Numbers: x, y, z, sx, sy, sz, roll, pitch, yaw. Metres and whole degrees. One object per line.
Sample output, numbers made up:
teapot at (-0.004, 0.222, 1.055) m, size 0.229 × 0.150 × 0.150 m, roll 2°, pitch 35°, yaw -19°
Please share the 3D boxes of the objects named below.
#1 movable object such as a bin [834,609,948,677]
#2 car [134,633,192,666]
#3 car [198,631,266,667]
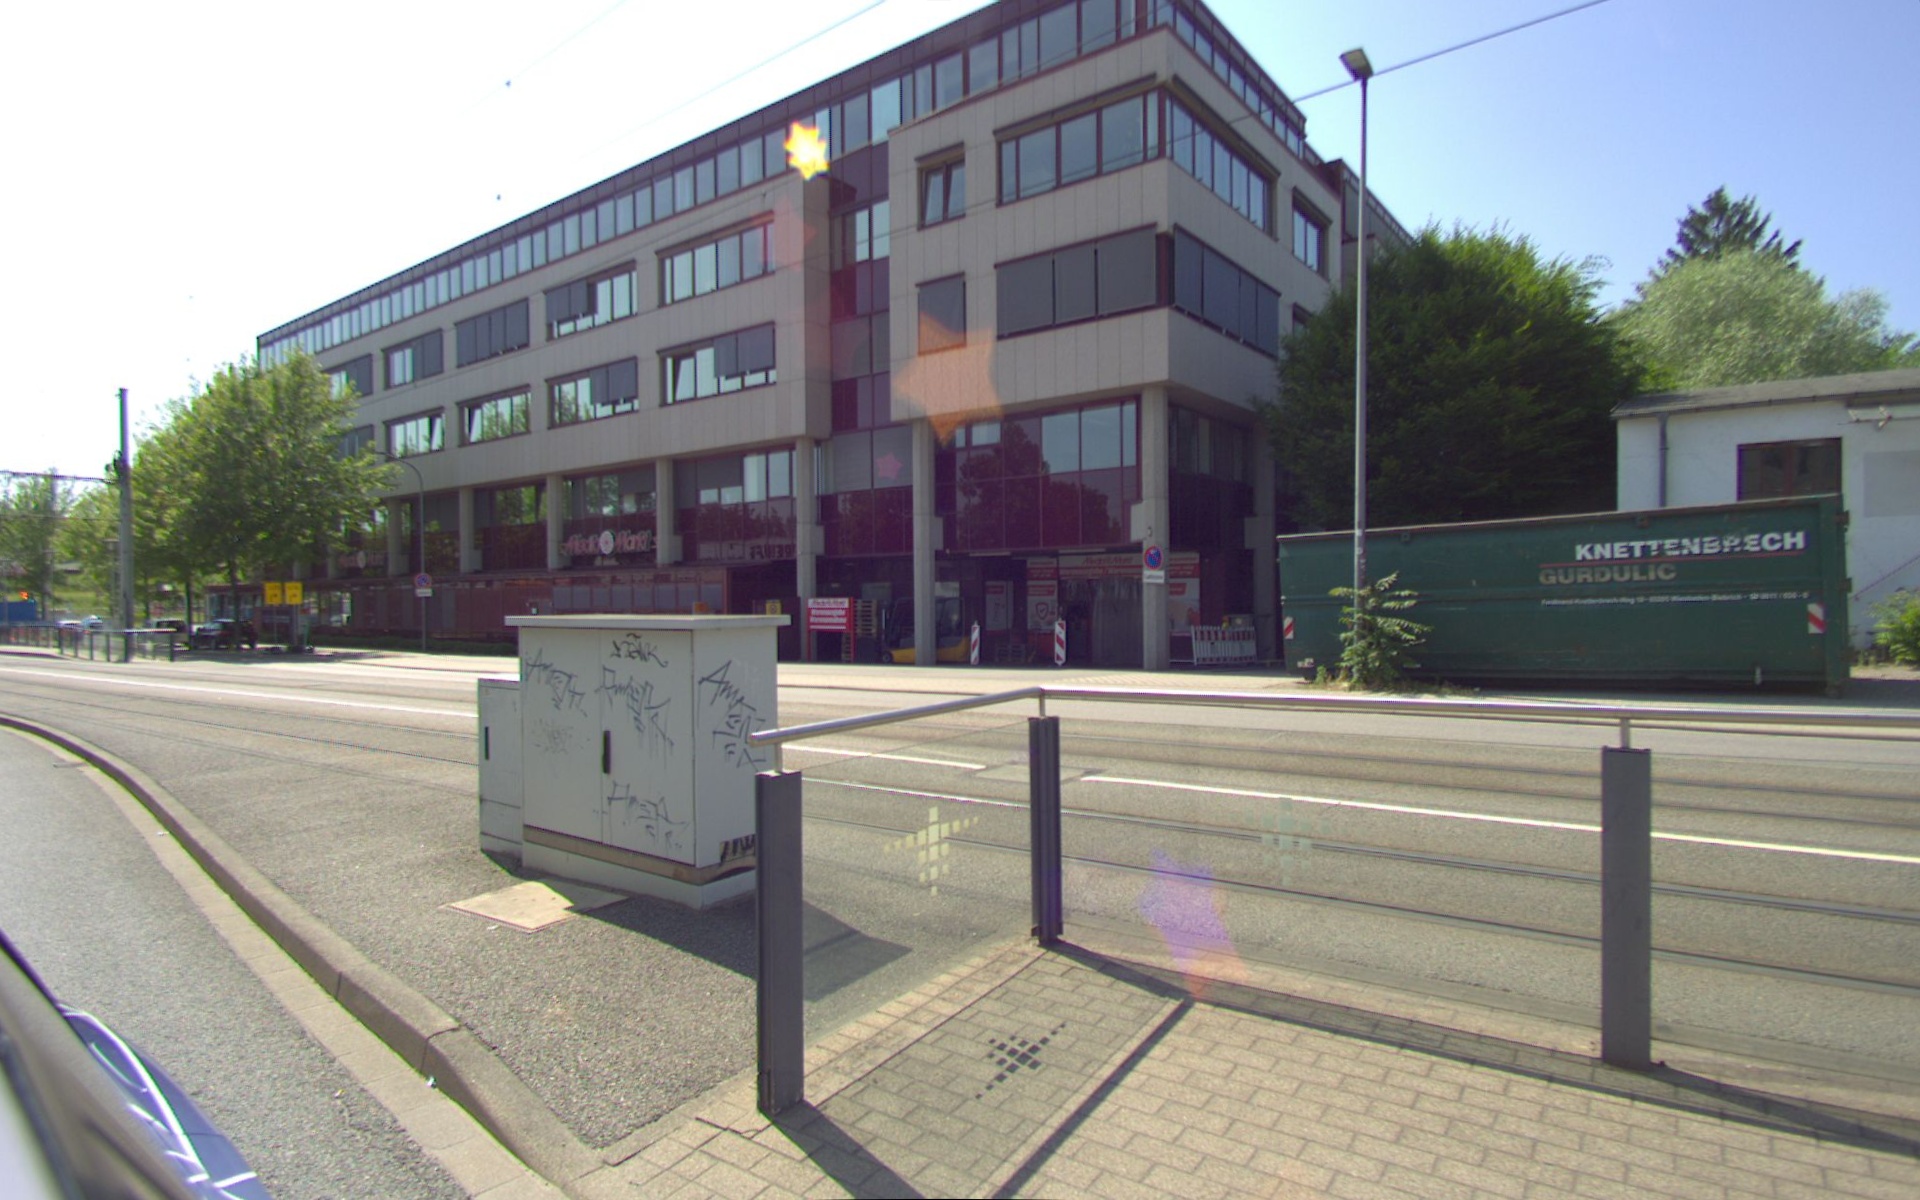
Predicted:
movable object such as a bin at (-2.155, 1.344, 31.894) m, size 3.152 × 2.029 × 1.737 m, roll -1°, pitch -1°, yaw 17°
car at (-41.533, 2.582, 52.701) m, size 4.001 × 1.630 × 1.846 m, roll -2°, pitch -2°, yaw 44°
car at (-35.120, 2.354, 48.767) m, size 4.001 × 1.635 × 1.971 m, roll -2°, pitch -2°, yaw 44°
